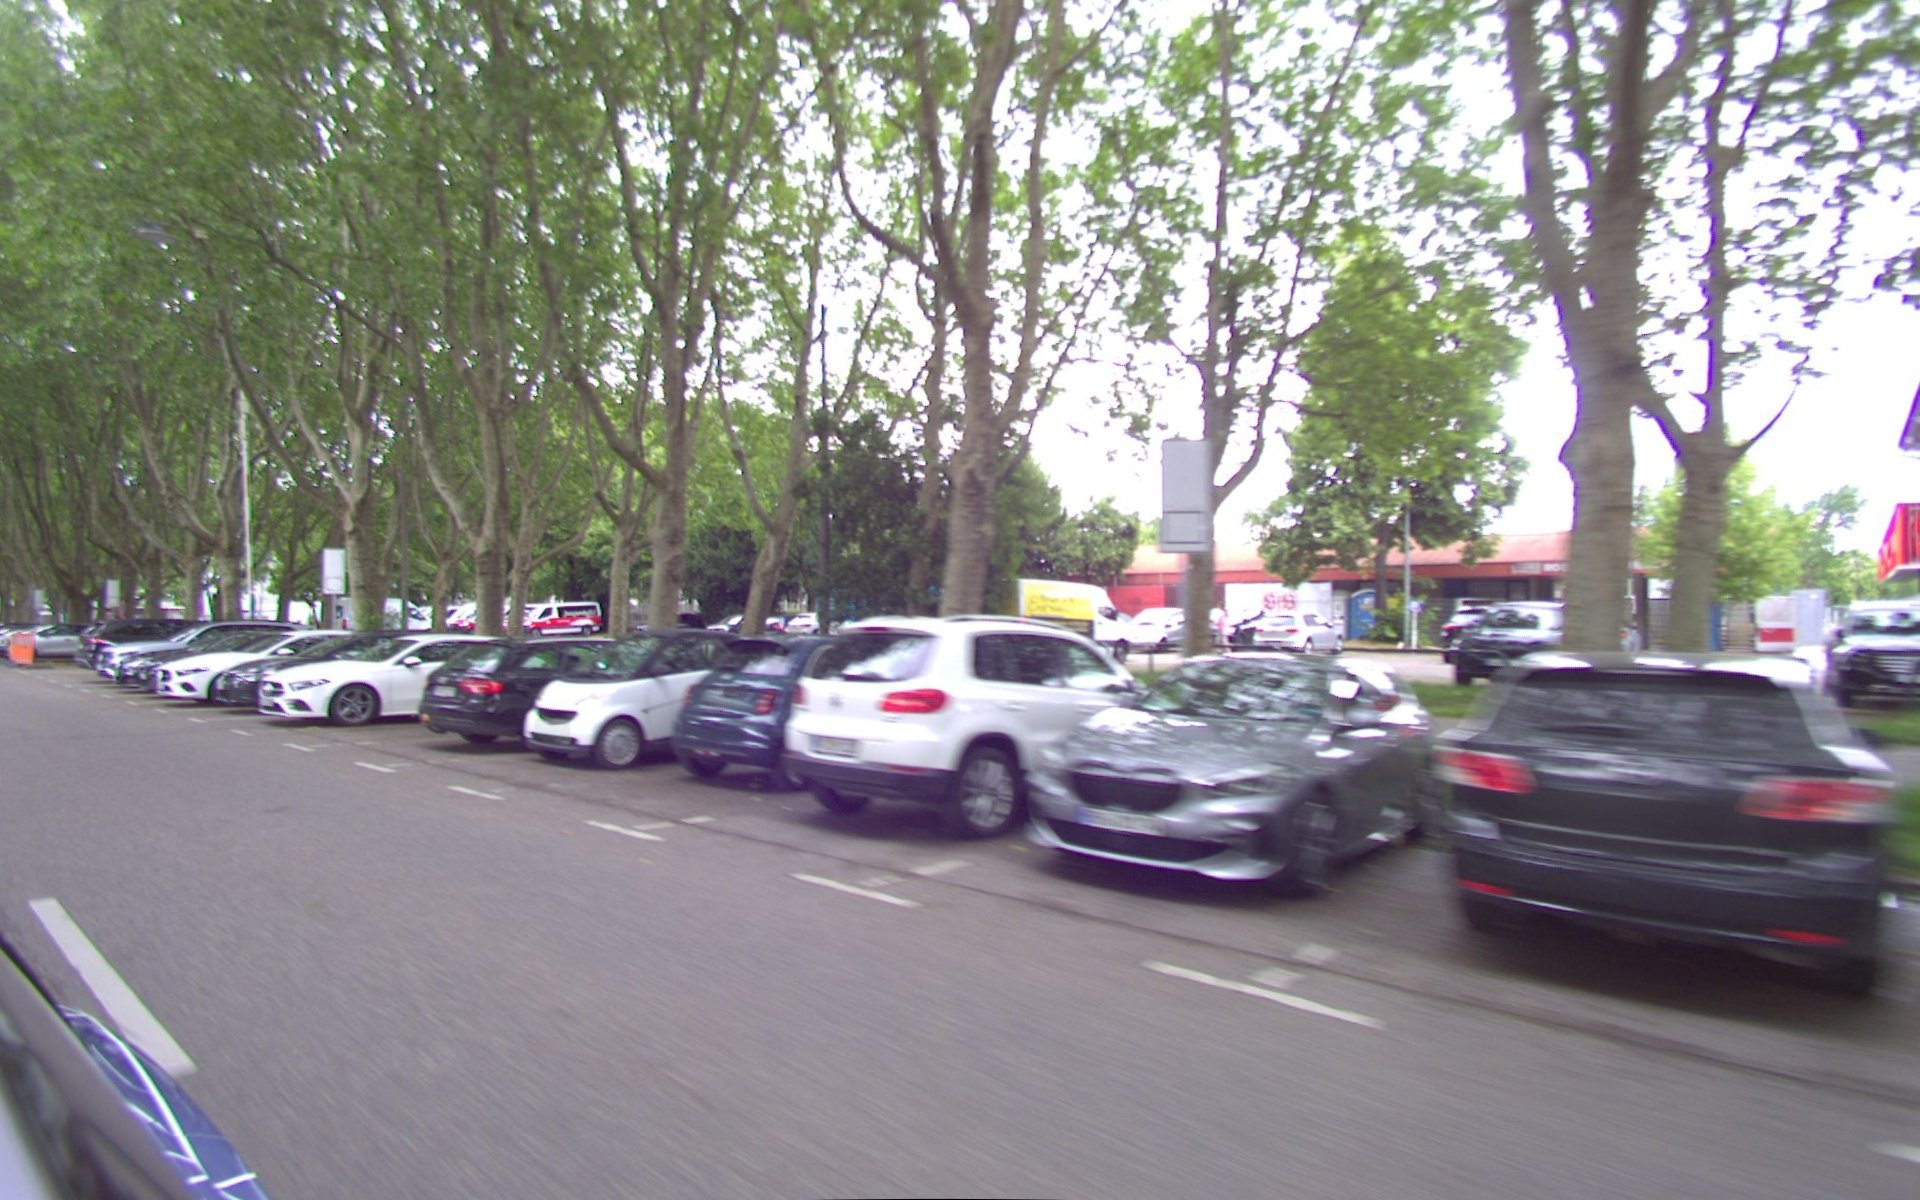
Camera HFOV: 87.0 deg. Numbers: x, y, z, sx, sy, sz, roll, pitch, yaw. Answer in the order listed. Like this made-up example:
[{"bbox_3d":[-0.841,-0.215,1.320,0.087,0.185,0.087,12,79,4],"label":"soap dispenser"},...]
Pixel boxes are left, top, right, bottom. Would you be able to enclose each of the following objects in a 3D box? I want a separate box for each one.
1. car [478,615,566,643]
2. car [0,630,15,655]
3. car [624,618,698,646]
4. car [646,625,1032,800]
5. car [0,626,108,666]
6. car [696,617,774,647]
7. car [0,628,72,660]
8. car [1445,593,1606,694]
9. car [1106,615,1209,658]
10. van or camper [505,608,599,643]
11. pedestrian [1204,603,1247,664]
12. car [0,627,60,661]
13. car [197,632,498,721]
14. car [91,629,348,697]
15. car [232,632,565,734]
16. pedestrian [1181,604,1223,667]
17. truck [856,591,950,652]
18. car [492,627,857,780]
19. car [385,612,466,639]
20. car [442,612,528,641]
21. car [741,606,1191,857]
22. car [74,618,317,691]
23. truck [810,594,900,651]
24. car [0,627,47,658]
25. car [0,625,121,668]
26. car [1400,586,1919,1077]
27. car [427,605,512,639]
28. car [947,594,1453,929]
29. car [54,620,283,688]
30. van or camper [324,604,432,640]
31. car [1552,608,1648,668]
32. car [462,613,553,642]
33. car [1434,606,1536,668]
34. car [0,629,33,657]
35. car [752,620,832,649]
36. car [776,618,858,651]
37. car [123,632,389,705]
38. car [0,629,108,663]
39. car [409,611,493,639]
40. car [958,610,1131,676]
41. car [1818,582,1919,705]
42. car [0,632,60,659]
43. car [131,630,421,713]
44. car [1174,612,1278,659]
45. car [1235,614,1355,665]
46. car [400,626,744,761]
[{"bbox_3d":[-30.570,1.978,70.756,1.998,1.864,5.398,-1,-1,39],"label":"car"},{"bbox_3d":[-58.383,2.486,59.537,2.000,1.442,3.943,-3,-5,43],"label":"car"},{"bbox_3d":[-17.701,1.864,59.972,1.798,1.498,3.950,-1,-1,37],"label":"car"},{"bbox_3d":[-1.162,1.043,11.014,1.855,1.464,3.944,-1,-1,42],"label":"car"},{"bbox_3d":[-37.443,1.889,41.355,1.676,1.550,3.796,-2,-4,43],"label":"car"},{"bbox_3d":[-12.229,1.703,55.227,1.798,1.498,3.950,-1,-1,37],"label":"car"},{"bbox_3d":[-46.671,2.184,50.057,1.874,1.525,3.943,-2,-4,43],"label":"car"},{"bbox_3d":[11.080,0.858,19.667,1.998,1.734,4.507,-1,-3,39],"label":"car"},{"bbox_3d":[7.334,1.317,37.390,1.990,1.460,3.945,-2,-1,41],"label":"car"},{"bbox_3d":[-28.032,1.728,69.703,2.328,2.272,5.645,-1,-1,41],"label":"van or camper"},{"bbox_3d":[8.013,1.003,30.570,0.918,1.814,0.932,-1,-1,42],"label":"pedestrian"},{"bbox_3d":[-45.143,2.066,47.739,1.847,1.581,3.796,-2,-4,43],"label":"car"},{"bbox_3d":[-11.018,1.341,18.465,1.783,1.428,4.359,-2,-4,43],"label":"car"},{"bbox_3d":[-16.948,1.424,23.359,2.044,1.406,4.365,-1,-3,38],"label":"car"},{"bbox_3d":[-9.145,1.295,16.835,2.043,1.455,4.368,-1,-3,36],"label":"car"},{"bbox_3d":[7.122,1.033,29.780,0.918,1.814,0.808,-1,-1,42],"label":"pedestrian"},{"bbox_3d":[-2.632,0.970,47.593,2.375,2.737,3.946,-1,-1,40],"label":"truck"},{"bbox_3d":[-3.346,1.107,12.384,1.855,1.464,3.944,-1,-1,42],"label":"car"},{"bbox_3d":[-43.441,2.031,82.339,2.391,2.036,5.398,-1,-1,39],"label":"car"},{"bbox_3d":[-35.585,1.966,75.991,2.391,2.036,5.398,-1,-1,39],"label":"car"},{"bbox_3d":[0.234,0.907,8.983,1.855,1.695,3.944,-1,-1,42],"label":"car"},{"bbox_3d":[-18.828,1.337,25.118,2.043,1.639,4.369,-1,-3,35],"label":"car"},{"bbox_3d":[-5.016,1.046,48.776,2.122,2.628,3.944,-1,-1,42],"label":"truck"},{"bbox_3d":[-52.369,2.291,54.928,2.000,1.641,3.974,-3,-5,43],"label":"car"},{"bbox_3d":[-35.494,1.843,39.847,1.847,1.590,3.517,-2,-4,43],"label":"car"},{"bbox_3d":[4.043,0.809,5.515,1.855,1.695,3.944,-1,-1,42],"label":"car"},{"bbox_3d":[-37.625,1.633,77.755,2.391,2.536,5.398,-1,-1,39],"label":"car"},{"bbox_3d":[1.921,0.830,7.231,1.855,1.695,3.944,-1,-1,42],"label":"car"},{"bbox_3d":[-20.867,1.410,26.850,2.044,1.639,4.366,-1,-3,37],"label":"car"},{"bbox_3d":[-35.299,1.279,61.493,2.242,2.115,5.233,-1,-1,39],"label":"van or camper"},{"bbox_3d":[18.211,1.018,28.726,1.997,1.562,3.982,-1,-1,37],"label":"car"},{"bbox_3d":[-32.367,1.924,72.519,2.473,2.013,5.398,-1,-1,39],"label":"car"},{"bbox_3d":[15.211,1.004,29.214,1.997,1.638,3.950,-1,-1,37],"label":"car"},{"bbox_3d":[-54.259,2.372,56.144,1.799,1.539,3.985,-3,-5,43],"label":"car"},{"bbox_3d":[-8.625,1.766,52.181,1.727,1.387,3.966,-1,-1,37],"label":"car"},{"bbox_3d":[-7.064,1.662,50.368,1.732,1.519,3.947,-1,-1,39],"label":"car"},{"bbox_3d":[-14.991,1.434,21.777,1.722,1.406,4.364,-2,-3,39],"label":"car"},{"bbox_3d":[-41.116,2.069,45.156,2.090,1.445,4.514,-2,-4,43],"label":"car"},{"bbox_3d":[-40.030,1.988,79.697,2.391,2.036,5.398,-1,-3,39],"label":"car"},{"bbox_3d":[2.446,1.099,27.942,2.093,1.608,5.294,-1,-1,40],"label":"car"},{"bbox_3d":[15.054,0.720,16.092,1.998,1.734,4.507,-1,-3,39],"label":"car"},{"bbox_3d":[-48.442,2.316,51.381,2.000,1.320,3.943,-3,-5,43],"label":"car"},{"bbox_3d":[-13.235,1.353,19.813,1.774,1.435,4.363,-2,-3,40],"label":"car"},{"bbox_3d":[9.361,1.210,35.441,1.937,1.521,3.945,-2,-1,41],"label":"car"},{"bbox_3d":[11.335,1.258,34.001,2.181,1.532,4.891,-1,-1,40],"label":"car"},{"bbox_3d":[-5.102,1.124,13.667,1.855,1.464,3.944,-1,-1,42],"label":"car"}]
